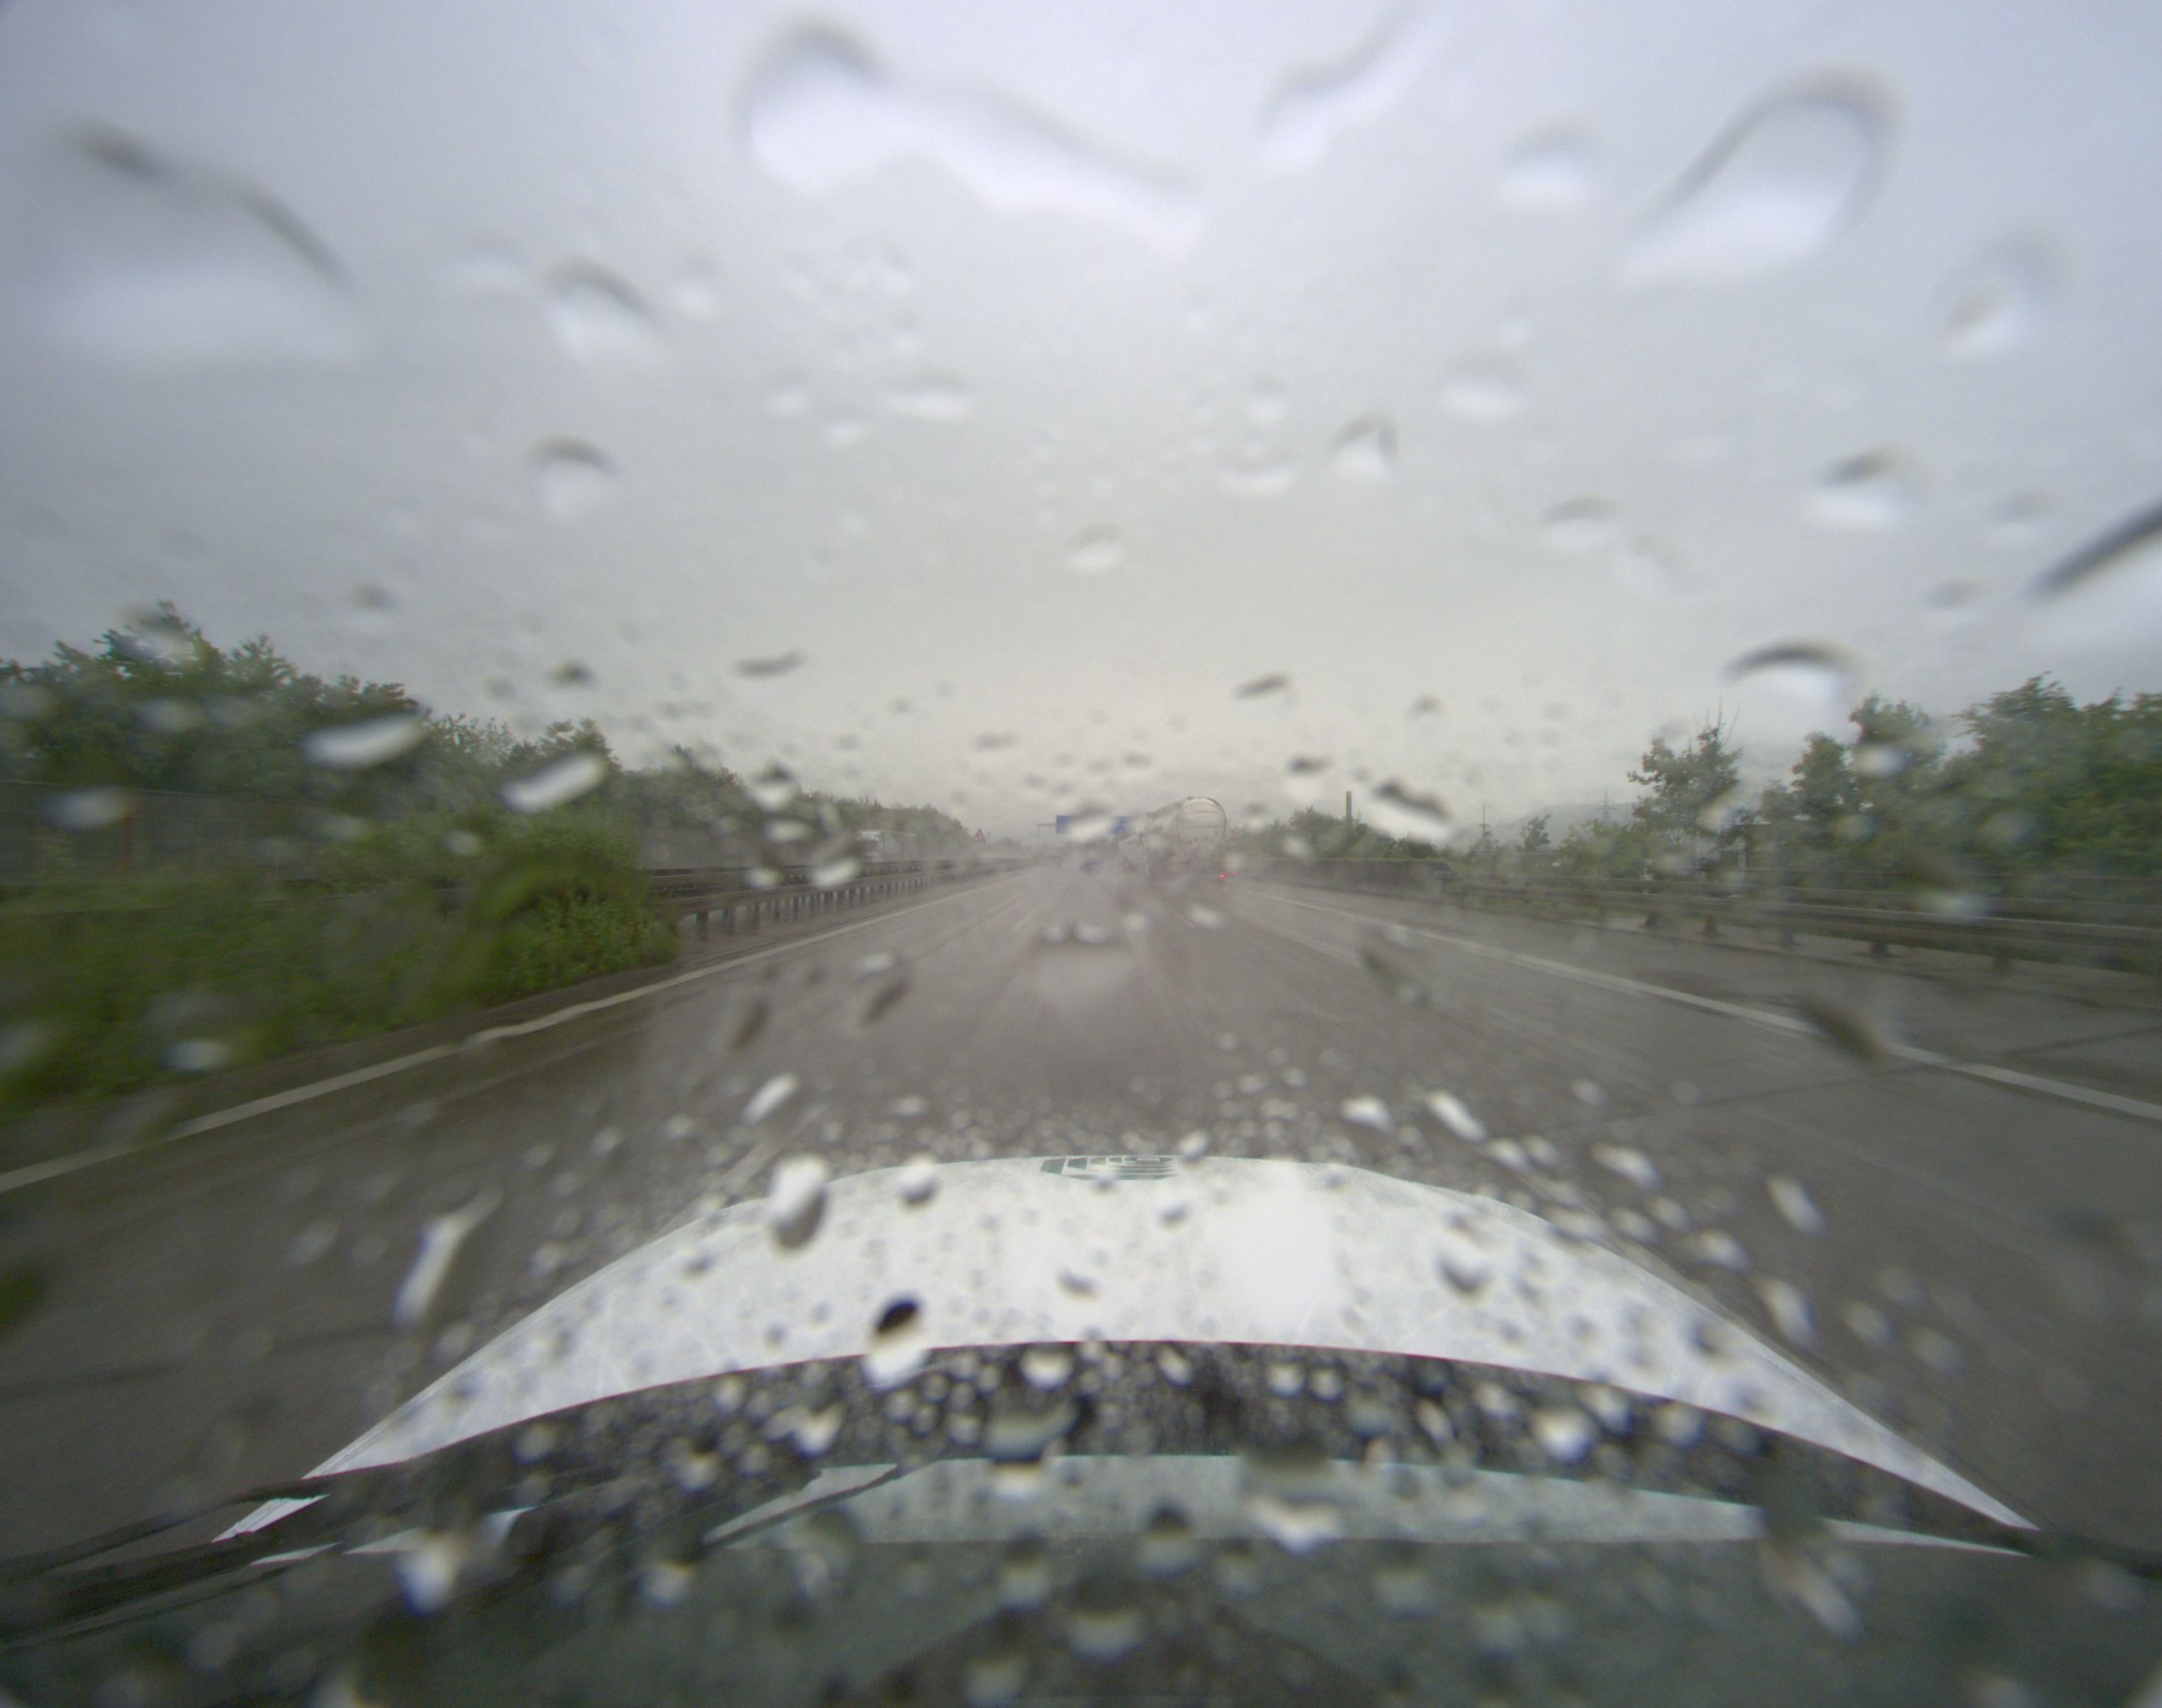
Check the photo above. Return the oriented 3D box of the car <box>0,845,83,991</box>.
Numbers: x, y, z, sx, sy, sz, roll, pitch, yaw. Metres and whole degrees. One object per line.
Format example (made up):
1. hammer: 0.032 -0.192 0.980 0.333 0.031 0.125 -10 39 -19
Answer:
1. car: -12.250 0.678 7.695 1.590 1.550 3.232 0 0 2

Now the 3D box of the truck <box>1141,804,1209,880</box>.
1. truck: 5.032 -0.620 44.984 3.093 3.806 7.214 0 0 1

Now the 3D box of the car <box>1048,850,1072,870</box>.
1. car: -1.886 0.509 75.171 1.918 1.741 4.406 -1 0 2

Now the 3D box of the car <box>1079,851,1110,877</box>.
1. car: 1.013 0.689 59.067 1.969 1.756 4.487 -1 0 4

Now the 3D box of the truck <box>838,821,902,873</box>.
1. truck: -20.296 -0.645 79.125 3.824 4.639 9.489 -1 0 -1

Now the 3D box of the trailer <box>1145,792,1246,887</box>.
1. trailer: 4.934 -0.576 37.604 3.177 3.670 11.668 0 0 1

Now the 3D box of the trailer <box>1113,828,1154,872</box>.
1. trailer: 4.832 -0.325 76.479 2.996 3.847 8.619 -1 0 -1
